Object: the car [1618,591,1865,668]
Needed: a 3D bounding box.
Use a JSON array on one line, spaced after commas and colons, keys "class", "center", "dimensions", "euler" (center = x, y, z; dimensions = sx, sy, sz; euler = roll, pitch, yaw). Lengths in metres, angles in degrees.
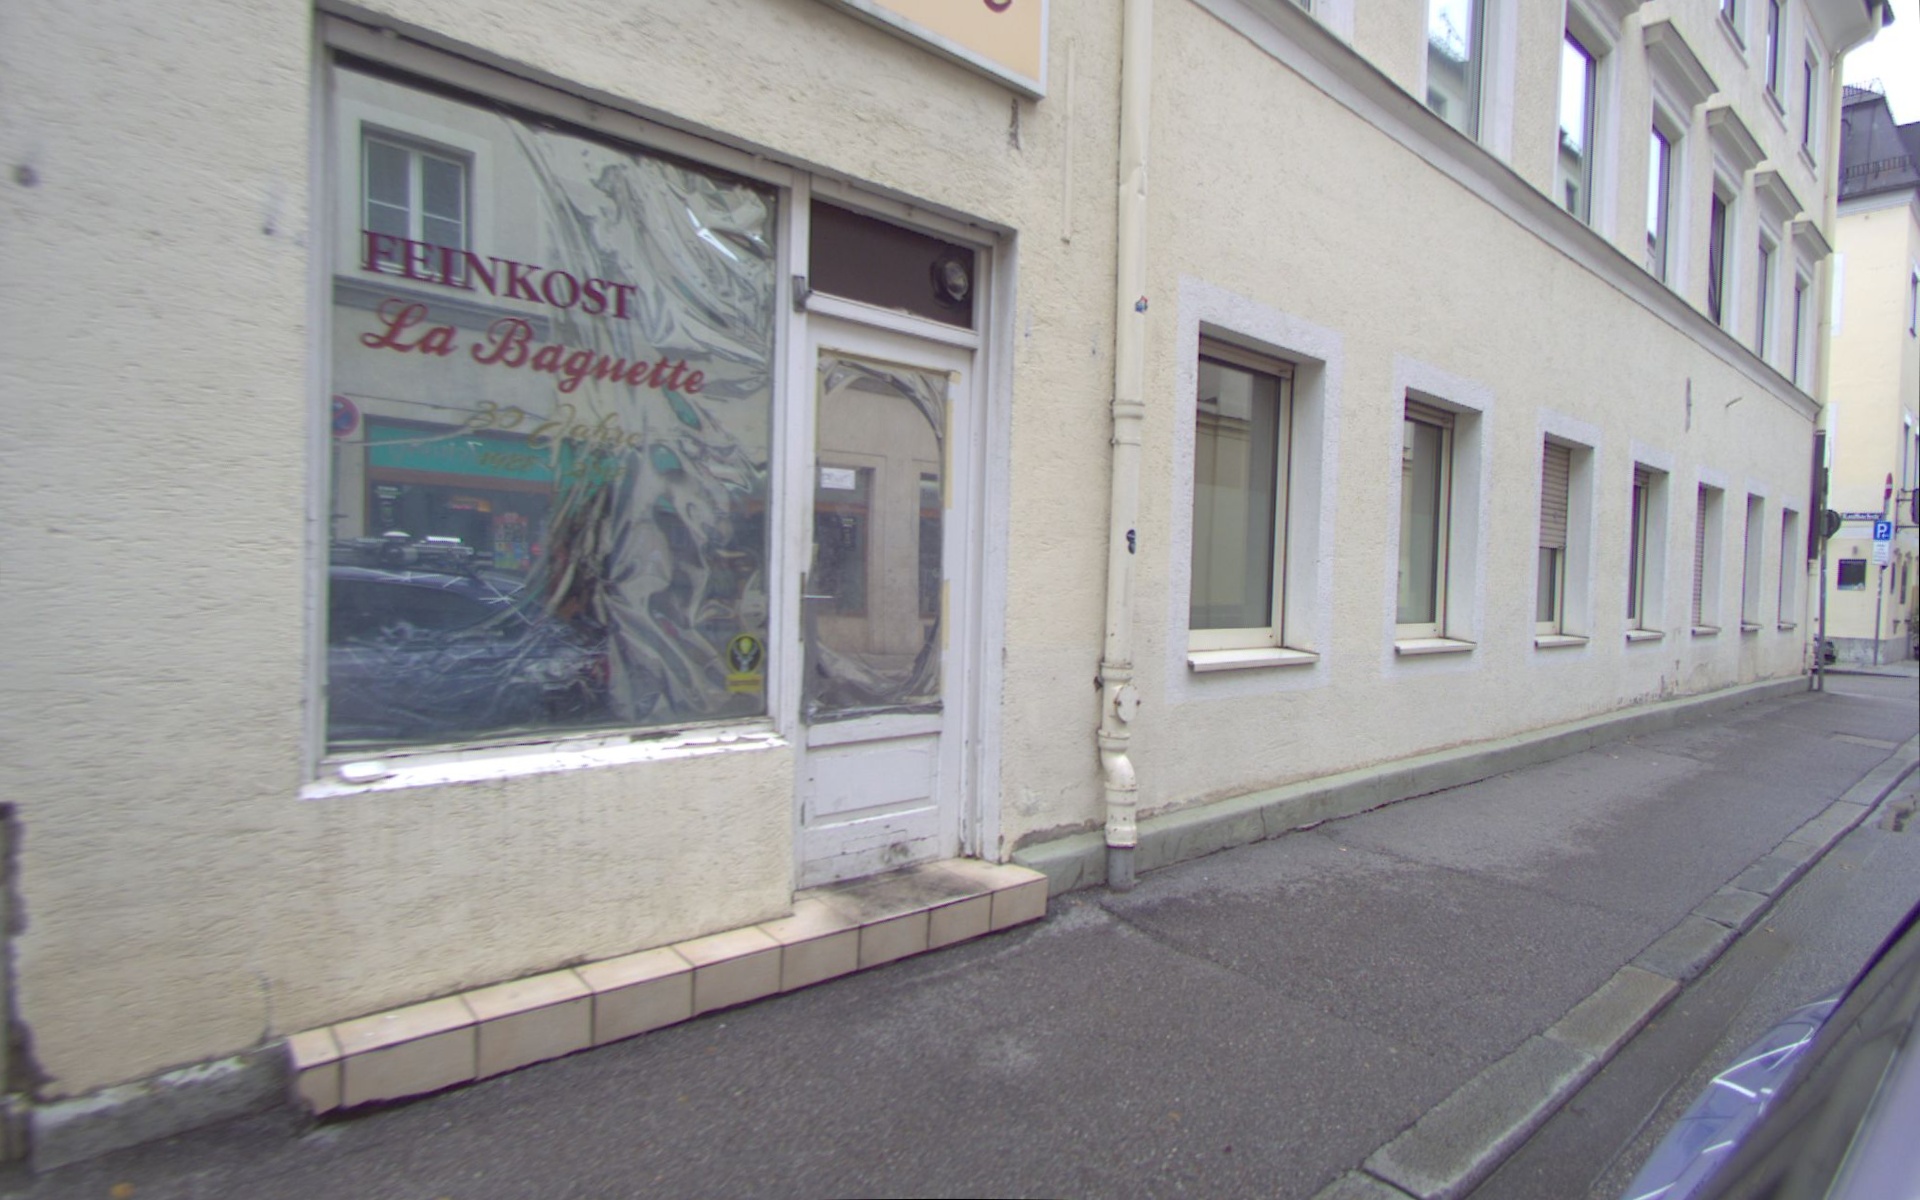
[{"class": "car", "center": [17.242, 0.622, 22.478], "dimensions": [1.732, 1.459, 4.025], "euler": [3, 0, -39]}]
